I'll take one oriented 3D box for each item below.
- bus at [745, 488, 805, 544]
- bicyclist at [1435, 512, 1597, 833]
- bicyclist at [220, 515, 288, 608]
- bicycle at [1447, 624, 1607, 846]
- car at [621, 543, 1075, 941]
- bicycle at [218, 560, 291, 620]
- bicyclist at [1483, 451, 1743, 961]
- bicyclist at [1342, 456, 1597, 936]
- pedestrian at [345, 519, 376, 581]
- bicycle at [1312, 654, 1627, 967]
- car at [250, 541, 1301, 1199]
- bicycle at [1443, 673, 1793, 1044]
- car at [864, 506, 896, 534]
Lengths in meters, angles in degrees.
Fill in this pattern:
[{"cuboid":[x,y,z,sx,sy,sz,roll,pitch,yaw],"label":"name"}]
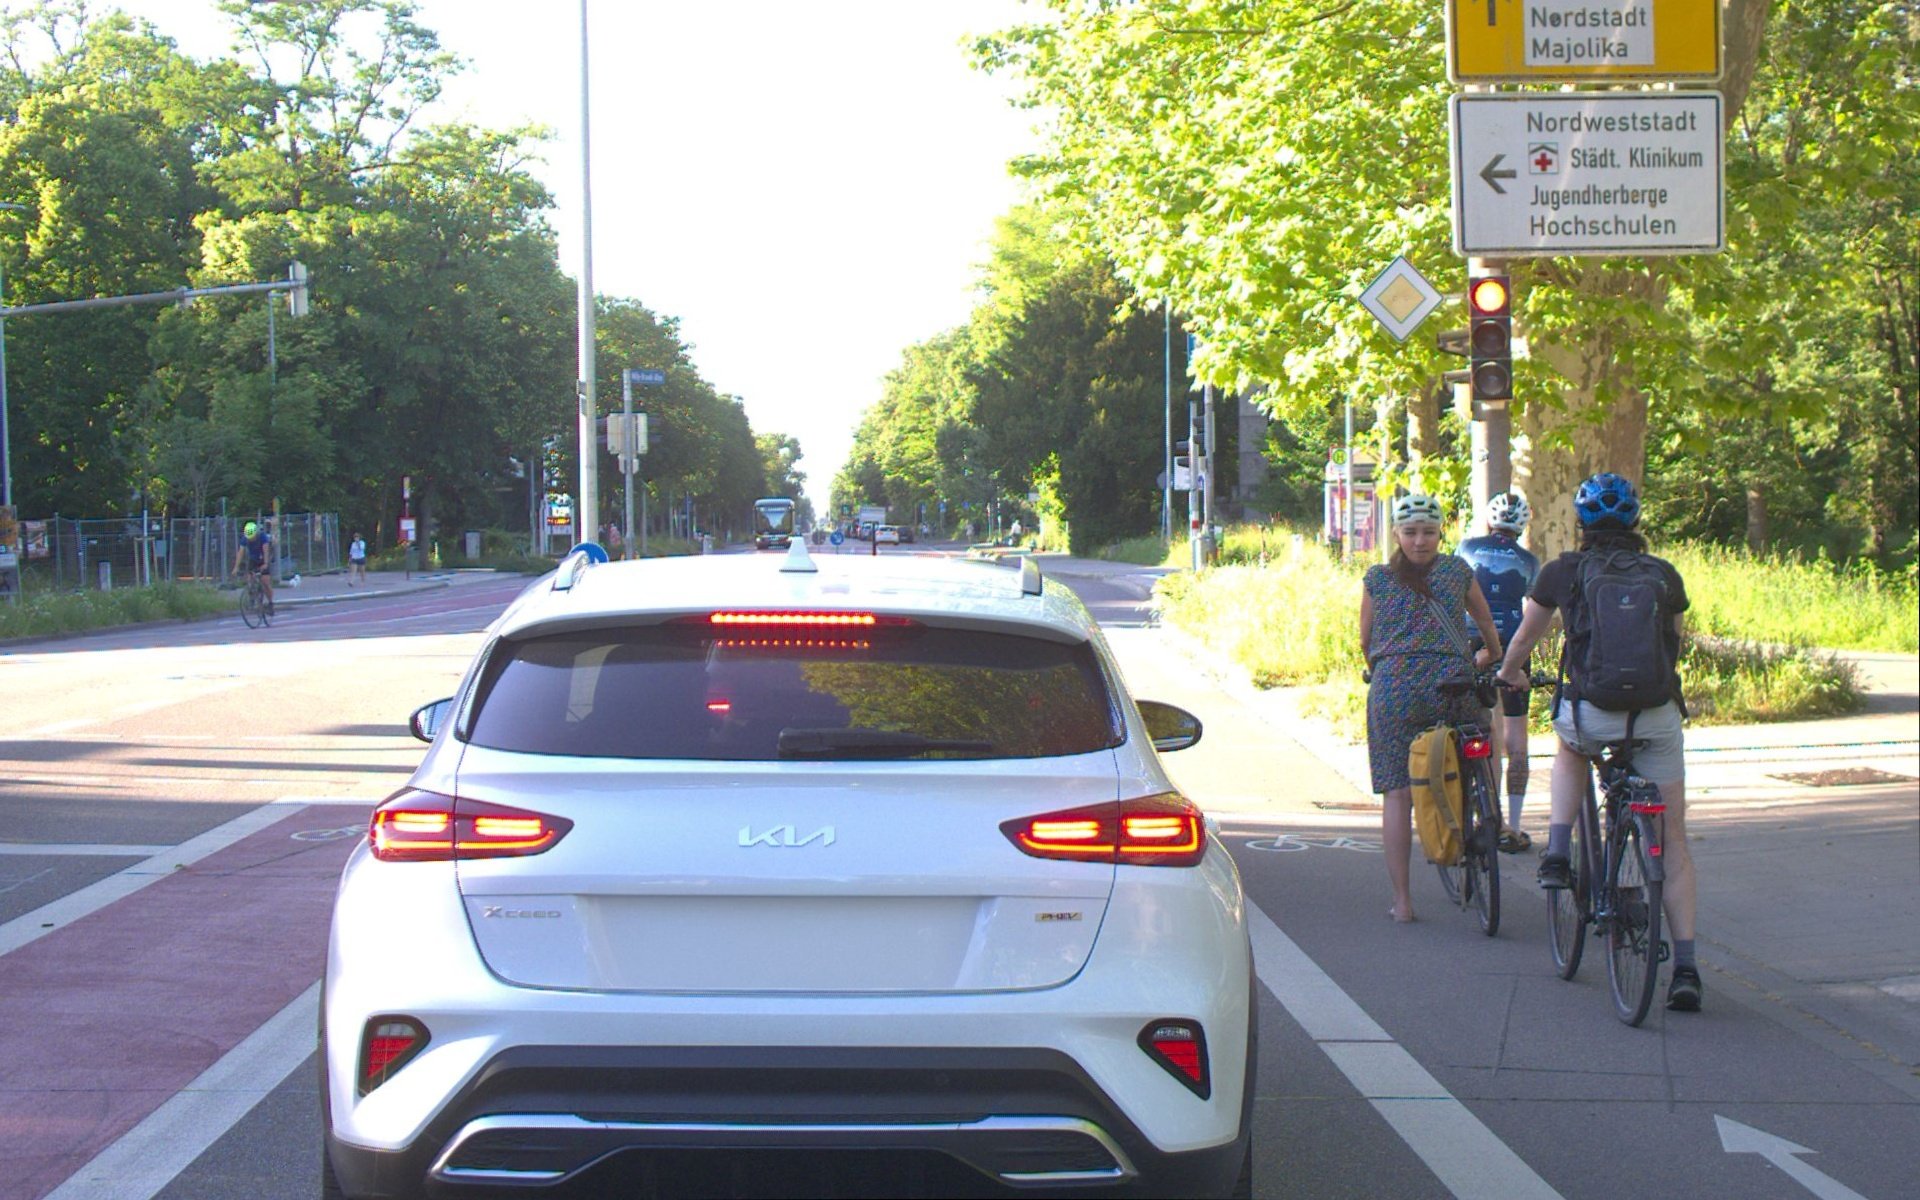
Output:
[{"cuboid":[-12.657,-5.722,234.447,3.741,3.660,13.243,-1,1,-4],"label":"bus"},{"cuboid":[2.660,0.334,16.487,0.554,1.473,0.717,-4,1,-2],"label":"bicyclist"},{"cuboid":[-12.355,-0.682,60.212,0.875,1.603,1.188,-1,1,1],"label":"bicyclist"},{"cuboid":[2.696,0.621,16.439,0.401,0.953,1.551,-4,1,-2],"label":"bicycle"},{"cuboid":[-0.501,0.522,15.087,1.728,1.478,3.517,-1,1,-2],"label":"car"},{"cuboid":[-12.346,-0.187,60.203,0.663,0.985,2.504,-1,1,2],"label":"bicycle"},{"cuboid":[2.108,0.327,11.170,0.665,1.596,0.721,1,1,-2],"label":"bicyclist"},{"cuboid":[1.978,0.349,13.494,0.753,1.789,1.165,1,1,-2],"label":"bicyclist"},{"cuboid":[-17.320,-1.454,99.346,0.785,1.779,0.751,0,1,0],"label":"pedestrian"},{"cuboid":[1.960,0.779,13.628,0.758,1.009,2.570,1,1,-2],"label":"bicycle"},{"cuboid":[-0.383,0.619,7.946,1.821,1.475,3.937,0,1,-2],"label":"car"},{"cuboid":[2.104,0.792,11.270,0.668,1.006,2.081,1,1,-2],"label":"bicycle"},{"cuboid":[-6.004,-5.957,257.051,1.993,2.007,4.001,-2,1,-7],"label":"car"}]
